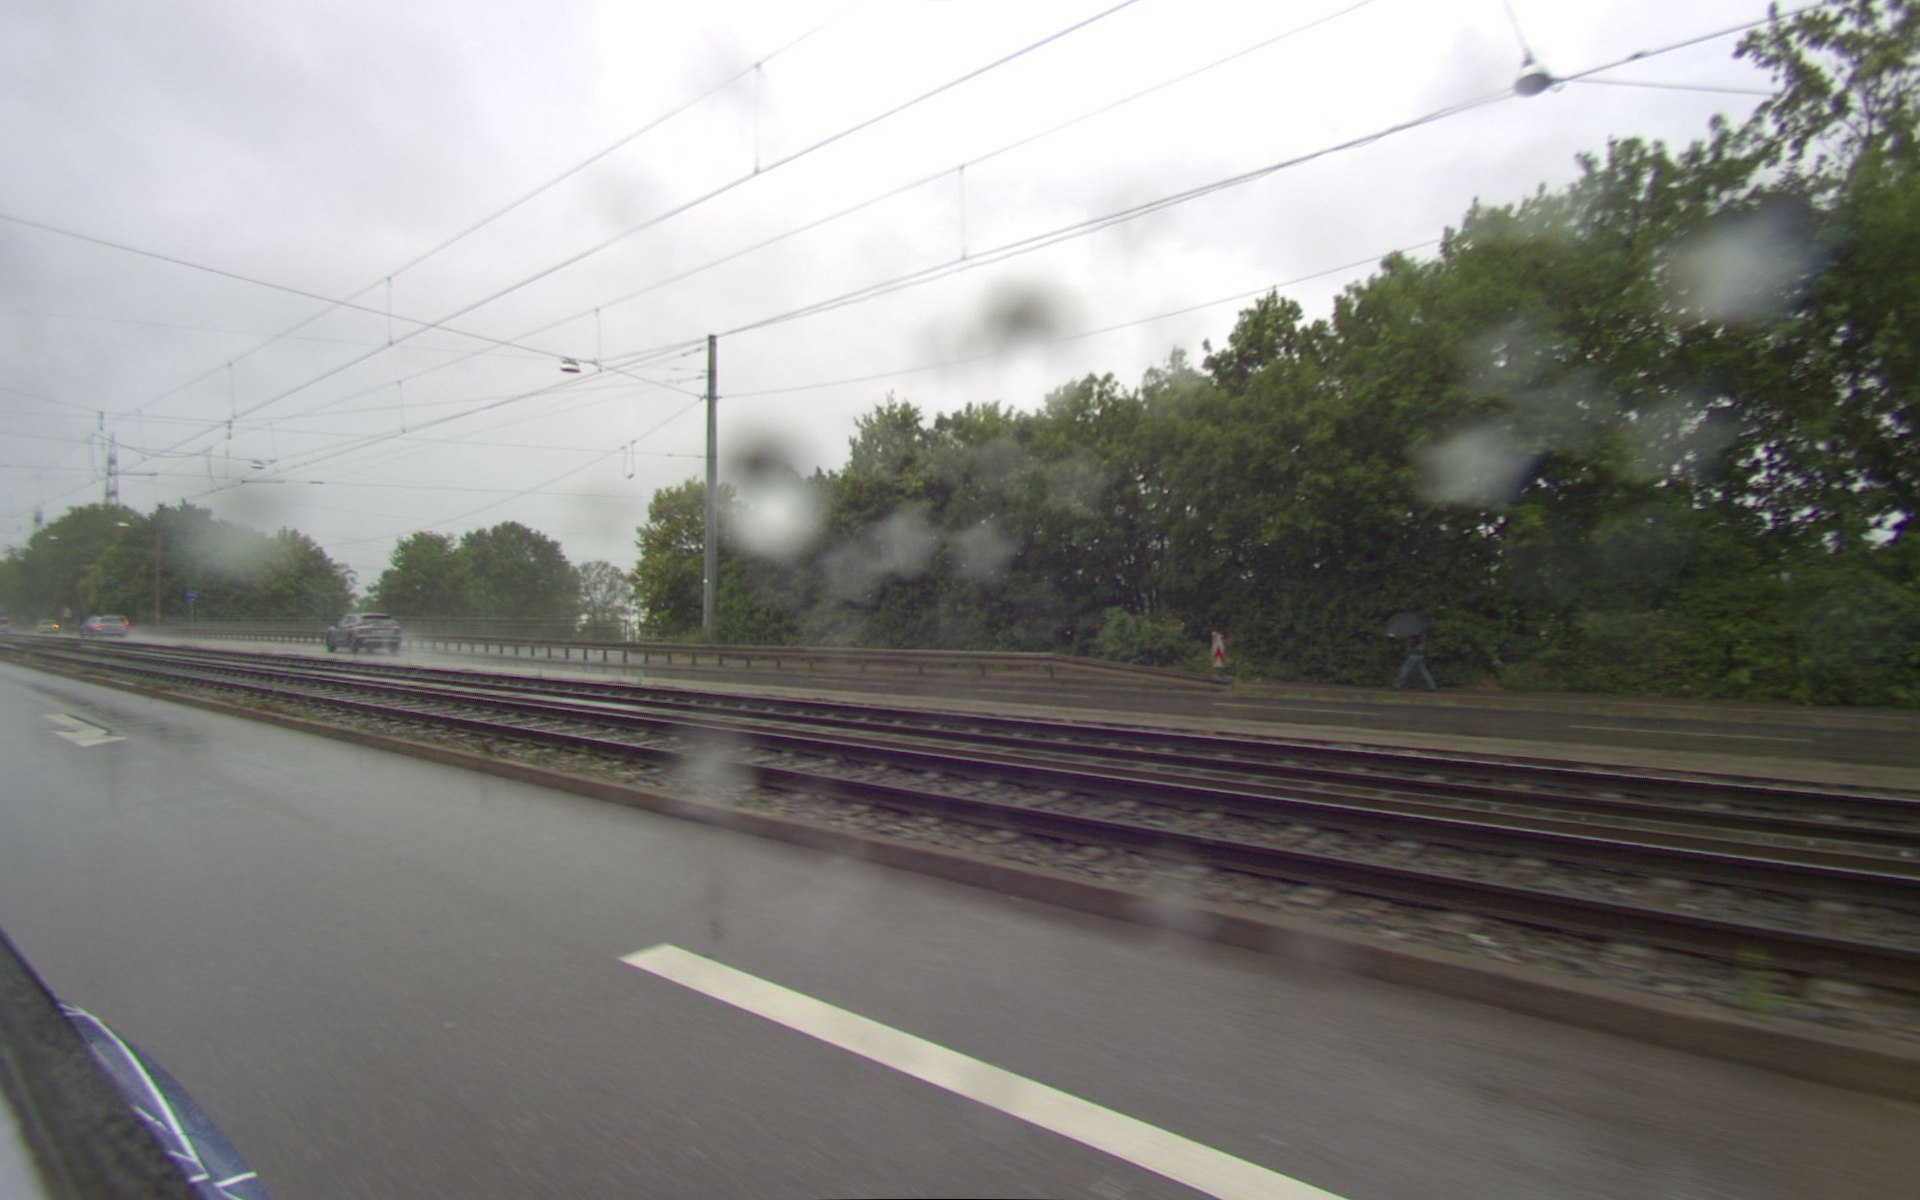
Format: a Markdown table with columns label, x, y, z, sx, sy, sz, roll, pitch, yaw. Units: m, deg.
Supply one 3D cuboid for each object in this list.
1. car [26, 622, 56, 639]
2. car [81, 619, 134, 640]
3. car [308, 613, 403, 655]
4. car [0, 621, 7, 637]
| label | x | y | z | sx | sy | sz | roll | pitch | yaw |
| --- | --- | --- | --- | --- | --- | --- | --- | --- | --- |
| car | -92.378 | 3.078 | 101.712 | 3.998 | 1.606 | 1.827 | -1 | -1 | 41 |
| car | -59.070 | 2.027 | 70.095 | 4.849 | 1.399 | 1.973 | -1 | -2 | 40 |
| car | -25.698 | 1.402 | 42.972 | 4.868 | 1.685 | 1.973 | -1 | -2 | 40 |
| car | -115.241 | 3.527 | 120.718 | 4.392 | 1.845 | 1.829 | -1 | 2 | 41 |
